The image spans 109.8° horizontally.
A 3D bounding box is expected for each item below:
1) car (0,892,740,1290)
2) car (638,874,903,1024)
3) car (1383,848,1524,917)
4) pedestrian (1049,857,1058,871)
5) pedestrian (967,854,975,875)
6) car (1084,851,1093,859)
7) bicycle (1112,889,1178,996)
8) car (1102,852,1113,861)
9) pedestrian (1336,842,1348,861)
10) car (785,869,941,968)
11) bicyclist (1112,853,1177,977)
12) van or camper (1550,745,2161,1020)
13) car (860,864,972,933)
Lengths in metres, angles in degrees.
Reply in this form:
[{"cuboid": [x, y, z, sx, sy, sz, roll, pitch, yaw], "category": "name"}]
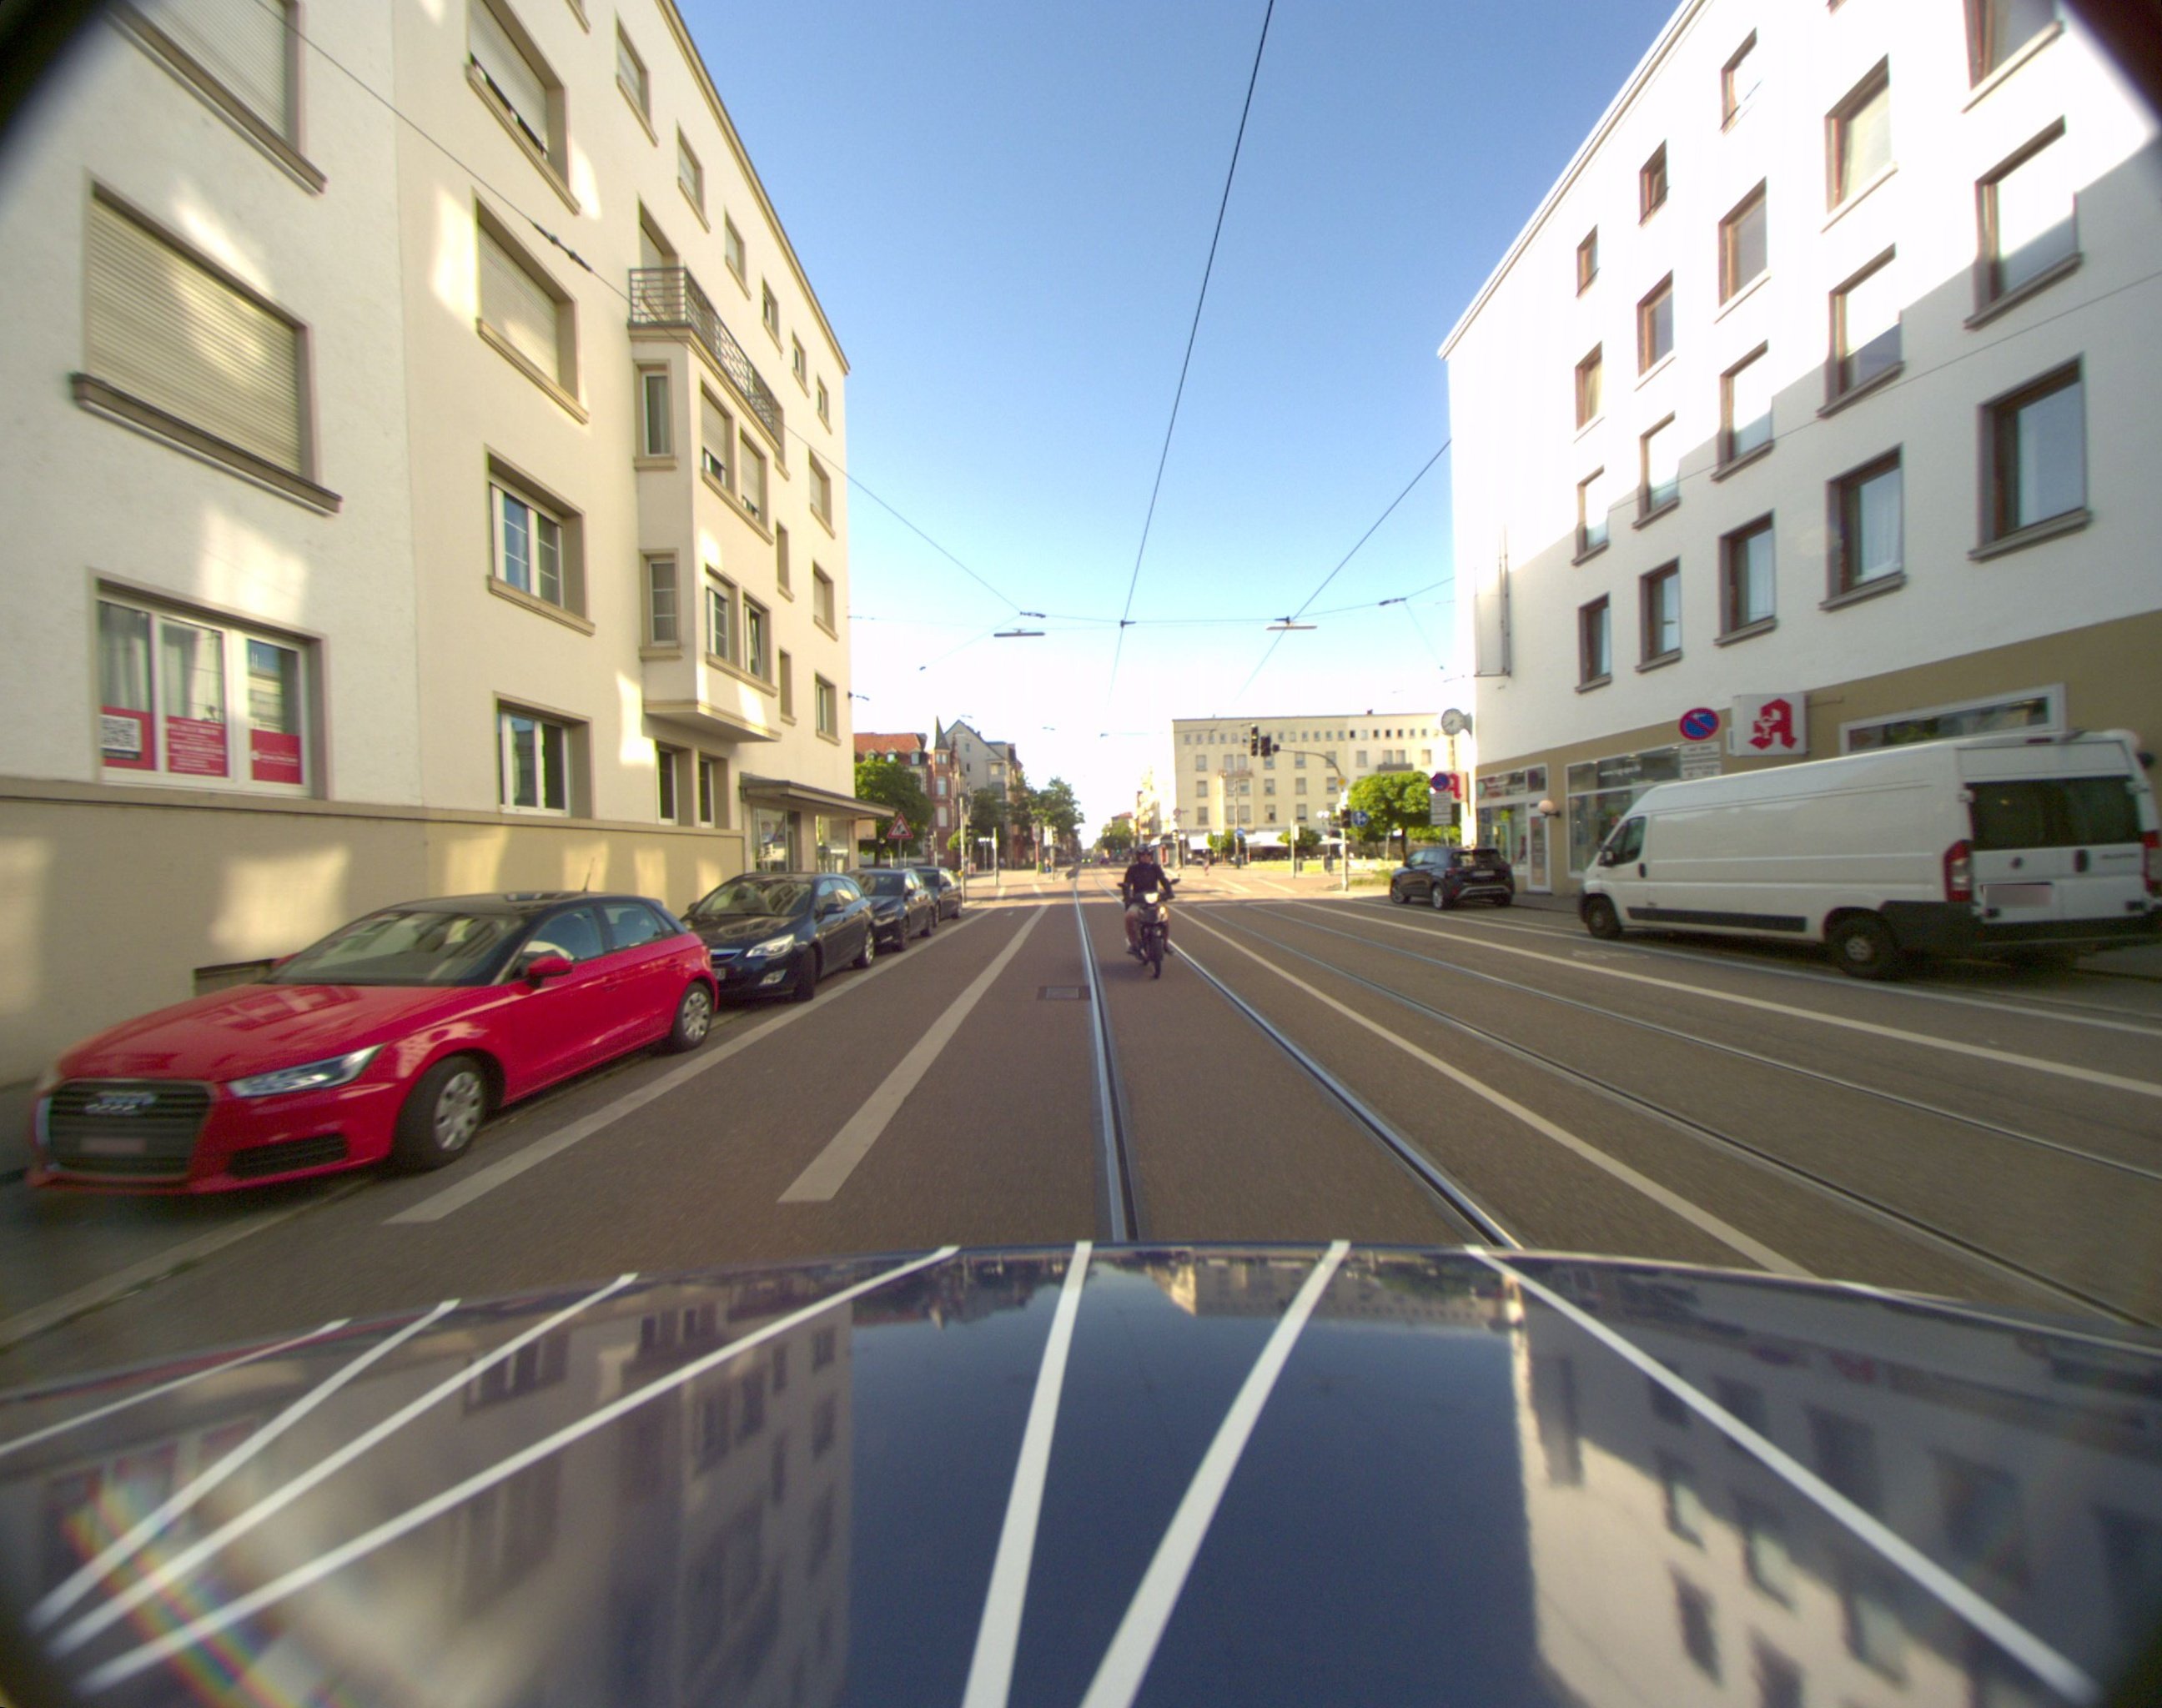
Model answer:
[{"cuboid": [-4.269, 1.126, 5.294, 1.861, 1.464, 3.989, 1, 0, 2], "category": "car"}, {"cuboid": [-3.936, 1.115, 10.498, 1.861, 1.498, 4.096, 1, 0, 2], "category": "car"}, {"cuboid": [9.586, 0.666, 19.942, 1.787, 1.543, 3.992, -3, 0, 2], "category": "car"}, {"cuboid": [-2.483, 0.874, 68.141, 0.774, 1.197, 0.610, -2, 1, -8], "category": "pedestrian"}, {"cuboid": [-10.316, 0.986, 71.059, 0.650, 1.944, 0.583, -2, 1, -16], "category": "pedestrian"}, {"cuboid": [1.702, 0.238, 169.341, 1.970, 1.577, 4.000, -2, 0, 1], "category": "car"}, {"cuboid": [0.820, 1.107, 10.033, 0.767, 1.191, 1.752, -1, 0, 3], "category": "bicycle"}, {"cuboid": [5.084, 0.503, 142.991, 1.970, 1.577, 4.000, -2, 0, 3], "category": "car"}, {"cuboid": [22.551, -0.223, 65.615, 0.667, 1.685, 0.839, -1, 1, -3], "category": "pedestrian"}, {"cuboid": [-4.034, 1.116, 14.883, 1.862, 1.498, 4.505, 1, 0, -2], "category": "car"}, {"cuboid": [0.812, 0.766, 9.981, 0.774, 1.531, 0.939, -1, 1, 2], "category": "bicyclist"}, {"cuboid": [9.357, 0.249, 10.179, 2.177, 2.453, 6.231, -3, 0, 0], "category": "van or camper"}, {"cuboid": [-4.246, 1.090, 20.382, 1.752, 1.498, 4.919, 1, 0, 2], "category": "car"}]
